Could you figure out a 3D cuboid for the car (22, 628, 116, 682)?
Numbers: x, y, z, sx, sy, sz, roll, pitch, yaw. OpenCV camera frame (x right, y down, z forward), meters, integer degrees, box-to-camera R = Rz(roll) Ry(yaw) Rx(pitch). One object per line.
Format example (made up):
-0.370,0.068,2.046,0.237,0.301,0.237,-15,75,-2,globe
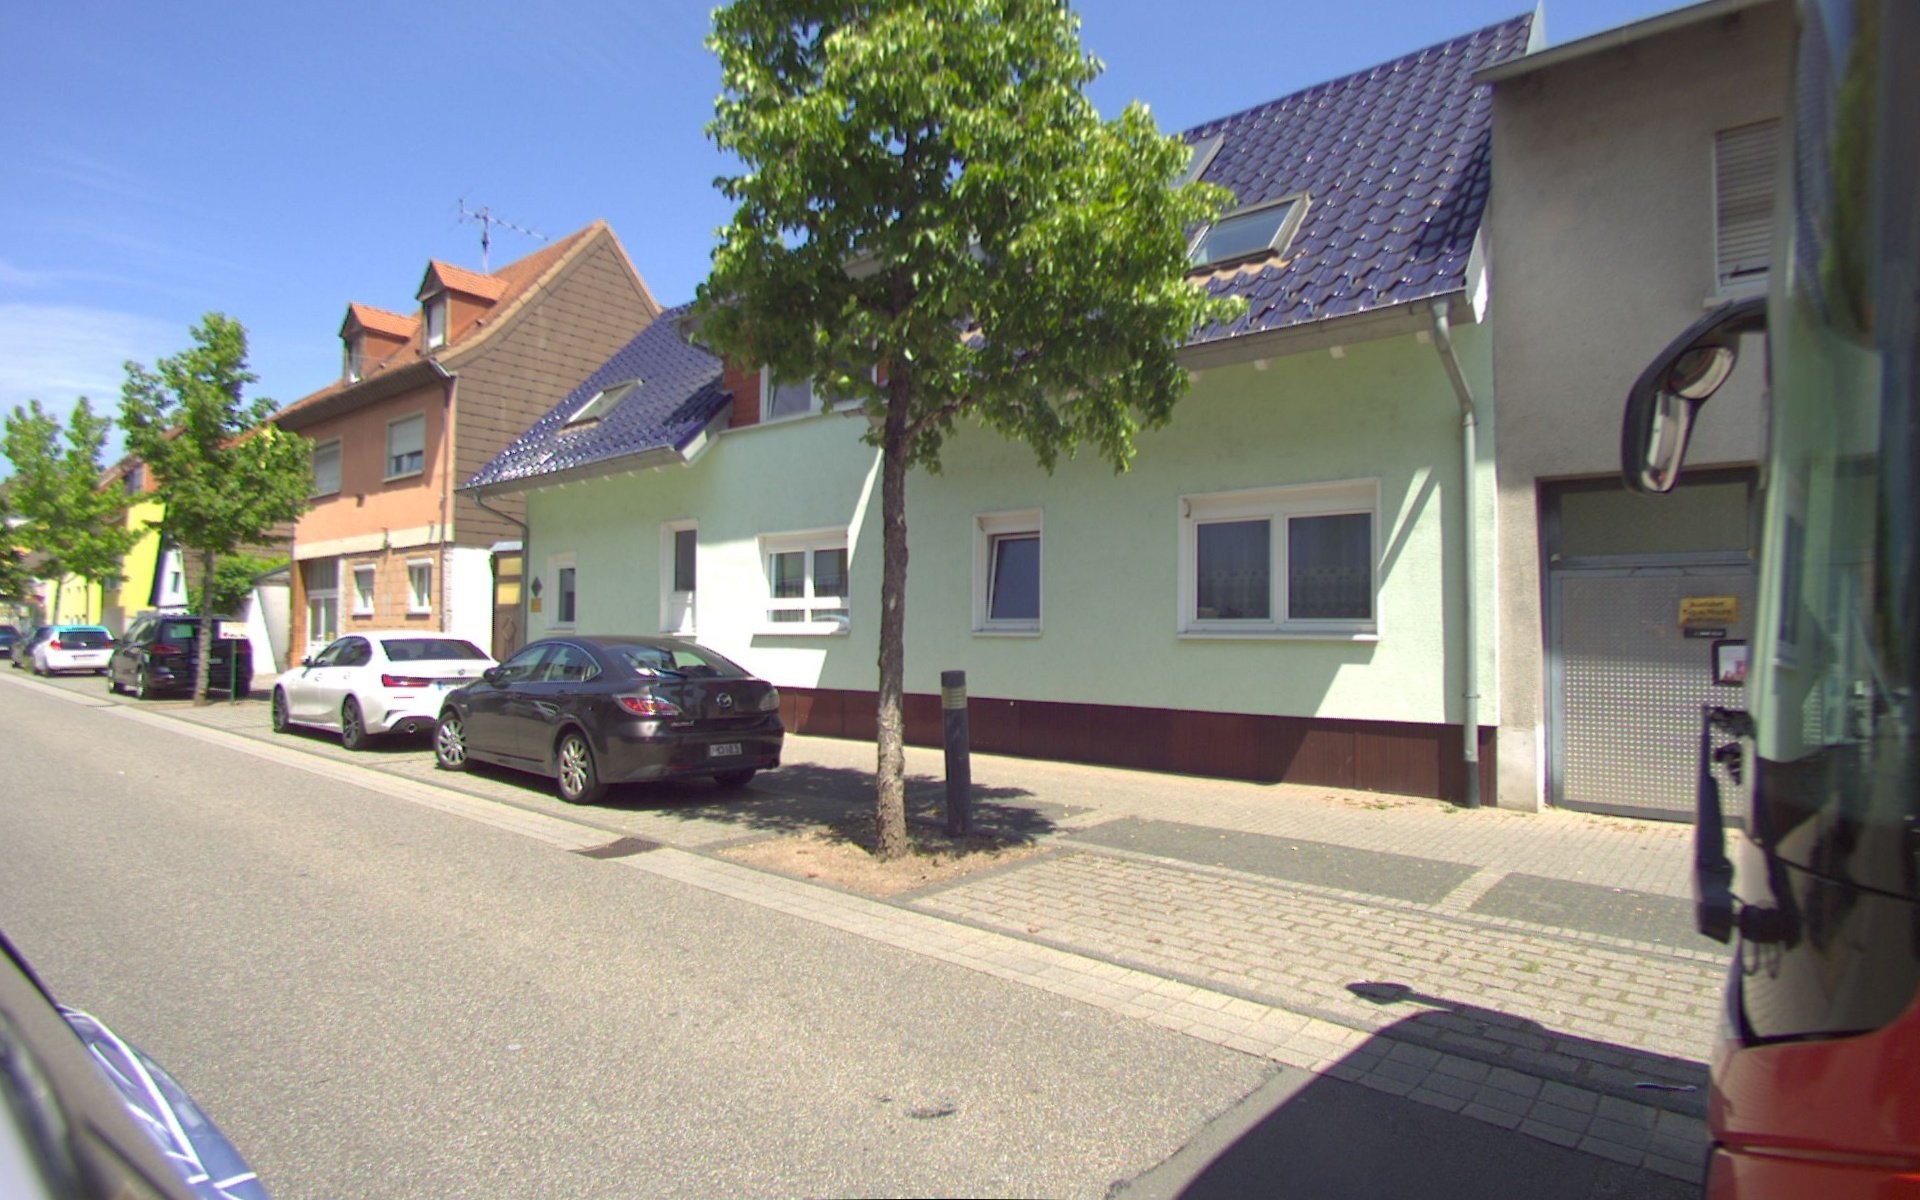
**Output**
-25.672,1.560,29.129,3.408,1.441,1.537,-1,-4,41,car

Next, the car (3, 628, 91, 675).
-30.208,1.683,33.458,4.096,1.441,1.628,-1,-4,41,car

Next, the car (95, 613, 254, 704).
-16.783,1.201,21.547,4.516,1.739,1.757,-1,-3,41,car

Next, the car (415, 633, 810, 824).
-3.579,1.061,9.929,4.536,1.448,1.643,-1,-3,42,car

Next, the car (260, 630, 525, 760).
-7.712,1.150,13.569,4.458,1.448,1.702,-1,-3,42,car

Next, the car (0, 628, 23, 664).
-39.947,1.866,41.577,4.156,1.418,1.639,-1,-3,41,car
